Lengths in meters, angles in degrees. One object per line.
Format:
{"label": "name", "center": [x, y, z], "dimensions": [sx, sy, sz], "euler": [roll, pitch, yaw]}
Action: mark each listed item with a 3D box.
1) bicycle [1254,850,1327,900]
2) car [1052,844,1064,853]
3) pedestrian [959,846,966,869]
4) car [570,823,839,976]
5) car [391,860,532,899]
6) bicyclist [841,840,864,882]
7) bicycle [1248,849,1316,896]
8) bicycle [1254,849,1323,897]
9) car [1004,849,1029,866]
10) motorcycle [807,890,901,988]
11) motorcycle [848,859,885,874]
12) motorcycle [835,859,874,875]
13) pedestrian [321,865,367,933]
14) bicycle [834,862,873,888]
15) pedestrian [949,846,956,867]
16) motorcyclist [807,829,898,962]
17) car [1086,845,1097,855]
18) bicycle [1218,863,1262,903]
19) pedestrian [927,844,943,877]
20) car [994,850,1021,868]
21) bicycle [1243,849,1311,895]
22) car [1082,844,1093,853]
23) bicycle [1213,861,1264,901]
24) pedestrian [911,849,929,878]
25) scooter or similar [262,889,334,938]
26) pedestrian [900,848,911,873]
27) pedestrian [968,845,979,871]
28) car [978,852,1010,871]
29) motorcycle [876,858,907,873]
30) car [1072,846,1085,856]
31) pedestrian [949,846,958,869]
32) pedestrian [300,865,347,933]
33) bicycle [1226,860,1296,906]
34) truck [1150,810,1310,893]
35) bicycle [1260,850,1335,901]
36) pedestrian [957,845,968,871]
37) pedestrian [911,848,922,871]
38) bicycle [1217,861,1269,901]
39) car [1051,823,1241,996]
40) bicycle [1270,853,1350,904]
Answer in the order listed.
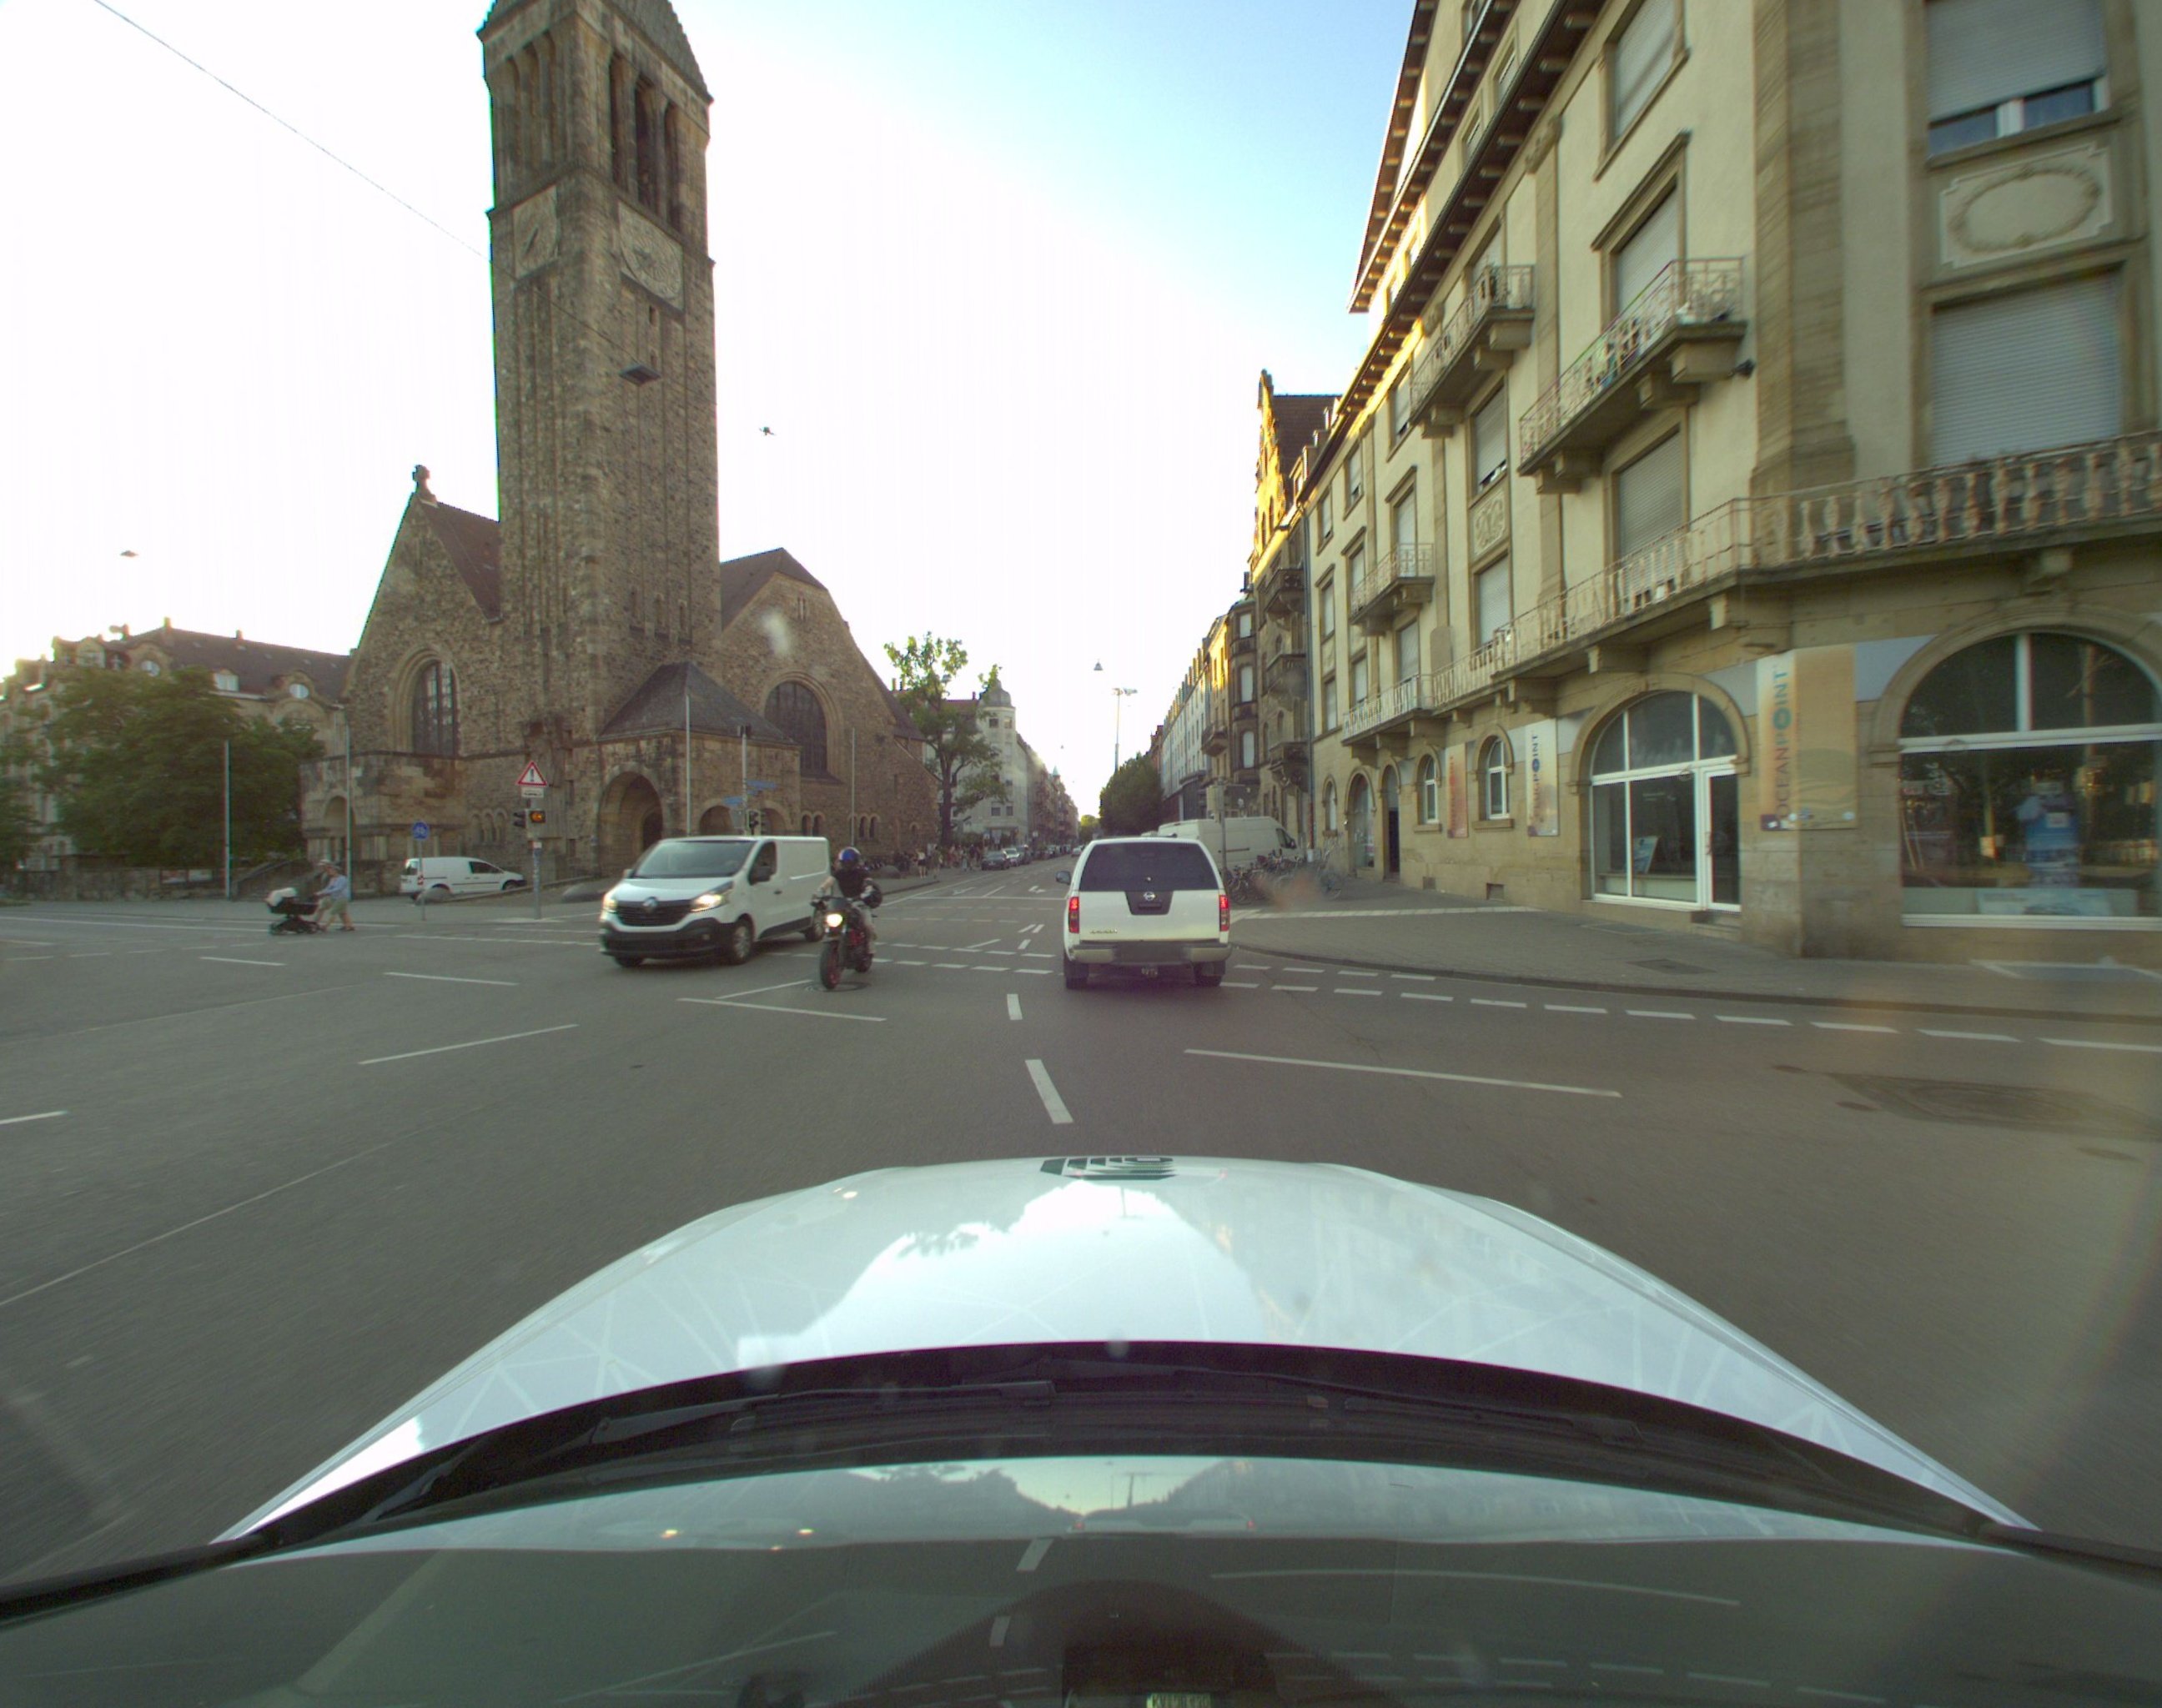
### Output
{"label": "bicycle", "center": [5.846, 0.579, 22.771], "dimensions": [1.811, 1.238, 0.478], "euler": [-5, 0, 0]}
{"label": "car", "center": [-3.986, -0.917, 144.002], "dimensions": [1.851, 1.529, 4.002], "euler": [-1, 0, 2]}
{"label": "pedestrian", "center": [-9.587, 0.270, 65.935], "dimensions": [0.559, 1.855, 0.644], "euler": [-1, 0, -5]}
{"label": "car", "center": [-5.855, 0.613, 13.549], "dimensions": [1.986, 2.013, 4.952], "euler": [-2, 0, 2]}
{"label": "car", "center": [-26.366, 1.042, 34.855], "dimensions": [1.698, 1.516, 4.482], "euler": [-1, 0, 27]}
{"label": "bicyclist", "center": [-10.003, 0.304, 35.681], "dimensions": [0.652, 1.827, 0.862], "euler": [-1, 0, 11]}
{"label": "bicycle", "center": [5.942, 0.541, 24.100], "dimensions": [1.811, 1.238, 0.410], "euler": [-5, 0, 0]}
{"label": "bicycle", "center": [5.983, 0.542, 23.492], "dimensions": [1.811, 1.238, 0.412], "euler": [-5, 0, 0]}
{"label": "car", "center": [-6.153, 0.299, 77.861], "dimensions": [1.851, 1.529, 4.002], "euler": [-1, 0, 2]}
{"label": "motorcycle", "center": [-2.843, 1.025, 10.416], "dimensions": [0.597, 1.043, 1.946], "euler": [-1, 0, 2]}
{"label": "motorcycle", "center": [-14.109, 0.825, 53.525], "dimensions": [2.239, 0.987, 0.707], "euler": [-1, 0, -3]}
{"label": "motorcycle", "center": [-14.307, 0.832, 51.502], "dimensions": [2.239, 0.987, 0.707], "euler": [-1, 0, -3]}
{"label": "pedestrian", "center": [-18.700, 1.132, 20.679], "dimensions": [0.629, 1.698, 0.605], "euler": [-1, 0, 13]}
{"label": "bicycle", "center": [-9.959, 0.907, 35.715], "dimensions": [0.652, 1.078, 2.253], "euler": [-1, 0, 13]}
{"label": "pedestrian", "center": [-10.473, 0.208, 66.335], "dimensions": [0.559, 1.695, 0.644], "euler": [-1, 0, -5]}
{"label": "motorcyclist", "center": [-2.949, 0.518, 10.602], "dimensions": [0.871, 1.644, 0.963], "euler": [-1, 0, 1]}
{"label": "car", "center": [1.773, -0.656, 135.809], "dimensions": [1.851, 1.529, 4.002], "euler": [-1, 0, 2]}
{"label": "bicycle", "center": [4.388, 0.804, 22.529], "dimensions": [1.073, 1.024, 0.317], "euler": [-5, 0, 0]}
{"label": "pedestrian", "center": [-8.557, 0.396, 47.780], "dimensions": [0.809, 1.900, 0.666], "euler": [-1, 0, 0]}
{"label": "car", "center": [-6.408, 0.389, 71.279], "dimensions": [1.851, 1.529, 4.002], "euler": [-1, 0, 2]}
{"label": "bicycle", "center": [5.926, 0.542, 24.633], "dimensions": [1.849, 1.238, 0.531], "euler": [-5, 0, 0]}
{"label": "car", "center": [1.083, -0.950, 146.163], "dimensions": [1.914, 1.529, 3.999], "euler": [-1, 0, 0]}
{"label": "bicycle", "center": [4.595, 0.785, 23.781], "dimensions": [1.328, 1.024, 0.317], "euler": [-5, 0, 0]}
{"label": "pedestrian", "center": [-9.410, 0.538, 47.623], "dimensions": [0.809, 1.669, 0.860], "euler": [-1, 0, 1]}
{"label": "scooter or similar", "center": [-19.144, 1.436, 19.934], "dimensions": [0.629, 1.103, 1.082], "euler": [-1, 0, 14]}
{"label": "pedestrian", "center": [-12.346, 0.454, 57.256], "dimensions": [0.642, 1.695, 0.561], "euler": [-1, 0, -6]}
{"label": "pedestrian", "center": [-7.784, 0.287, 58.871], "dimensions": [0.646, 1.855, 0.557], "euler": [0, 0, -27]}
{"label": "car", "center": [-6.696, 0.562, 63.083], "dimensions": [1.851, 1.398, 4.002], "euler": [-1, 0, 2]}
{"label": "motorcycle", "center": [-12.973, 0.809, 55.769], "dimensions": [2.146, 0.987, 0.597], "euler": [-1, 0, 22]}
{"label": "car", "center": [-0.406, -0.463, 133.515], "dimensions": [1.851, 1.529, 4.004], "euler": [-1, 0, 3]}
{"label": "pedestrian", "center": [-10.265, 0.292, 65.486], "dimensions": [0.643, 1.855, 0.559], "euler": [0, 0, -12]}
{"label": "pedestrian", "center": [-19.351, 1.138, 20.817], "dimensions": [0.629, 1.698, 0.605], "euler": [-1, 0, 12]}
{"label": "bicycle", "center": [4.764, 0.759, 21.629], "dimensions": [1.721, 1.083, 0.317], "euler": [-5, 0, 0]}
{"label": "truck", "center": [5.164, -0.125, 27.715], "dimensions": [5.703, 2.565, 2.261], "euler": [-1, 0, -41]}
{"label": "bicycle", "center": [5.849, 0.576, 22.059], "dimensions": [1.811, 1.238, 0.488], "euler": [-5, 0, 0]}
{"label": "pedestrian", "center": [-8.525, 0.265, 58.659], "dimensions": [0.646, 1.855, 0.557], "euler": [0, 0, -27]}
{"label": "pedestrian", "center": [-12.012, 0.404, 59.547], "dimensions": [0.640, 1.695, 0.562], "euler": [-1, 0, 2]}
{"label": "bicycle", "center": [4.613, 0.753, 23.233], "dimensions": [1.367, 1.024, 0.317], "euler": [-5, 0, 0]}
{"label": "car", "center": [0.785, 0.582, 10.585], "dimensions": [1.985, 1.809, 4.003], "euler": [0, 0, 3]}
{"label": "bicycle", "center": [5.926, 0.622, 21.114], "dimensions": [1.811, 1.149, 0.636], "euler": [-5, 0, 0]}
